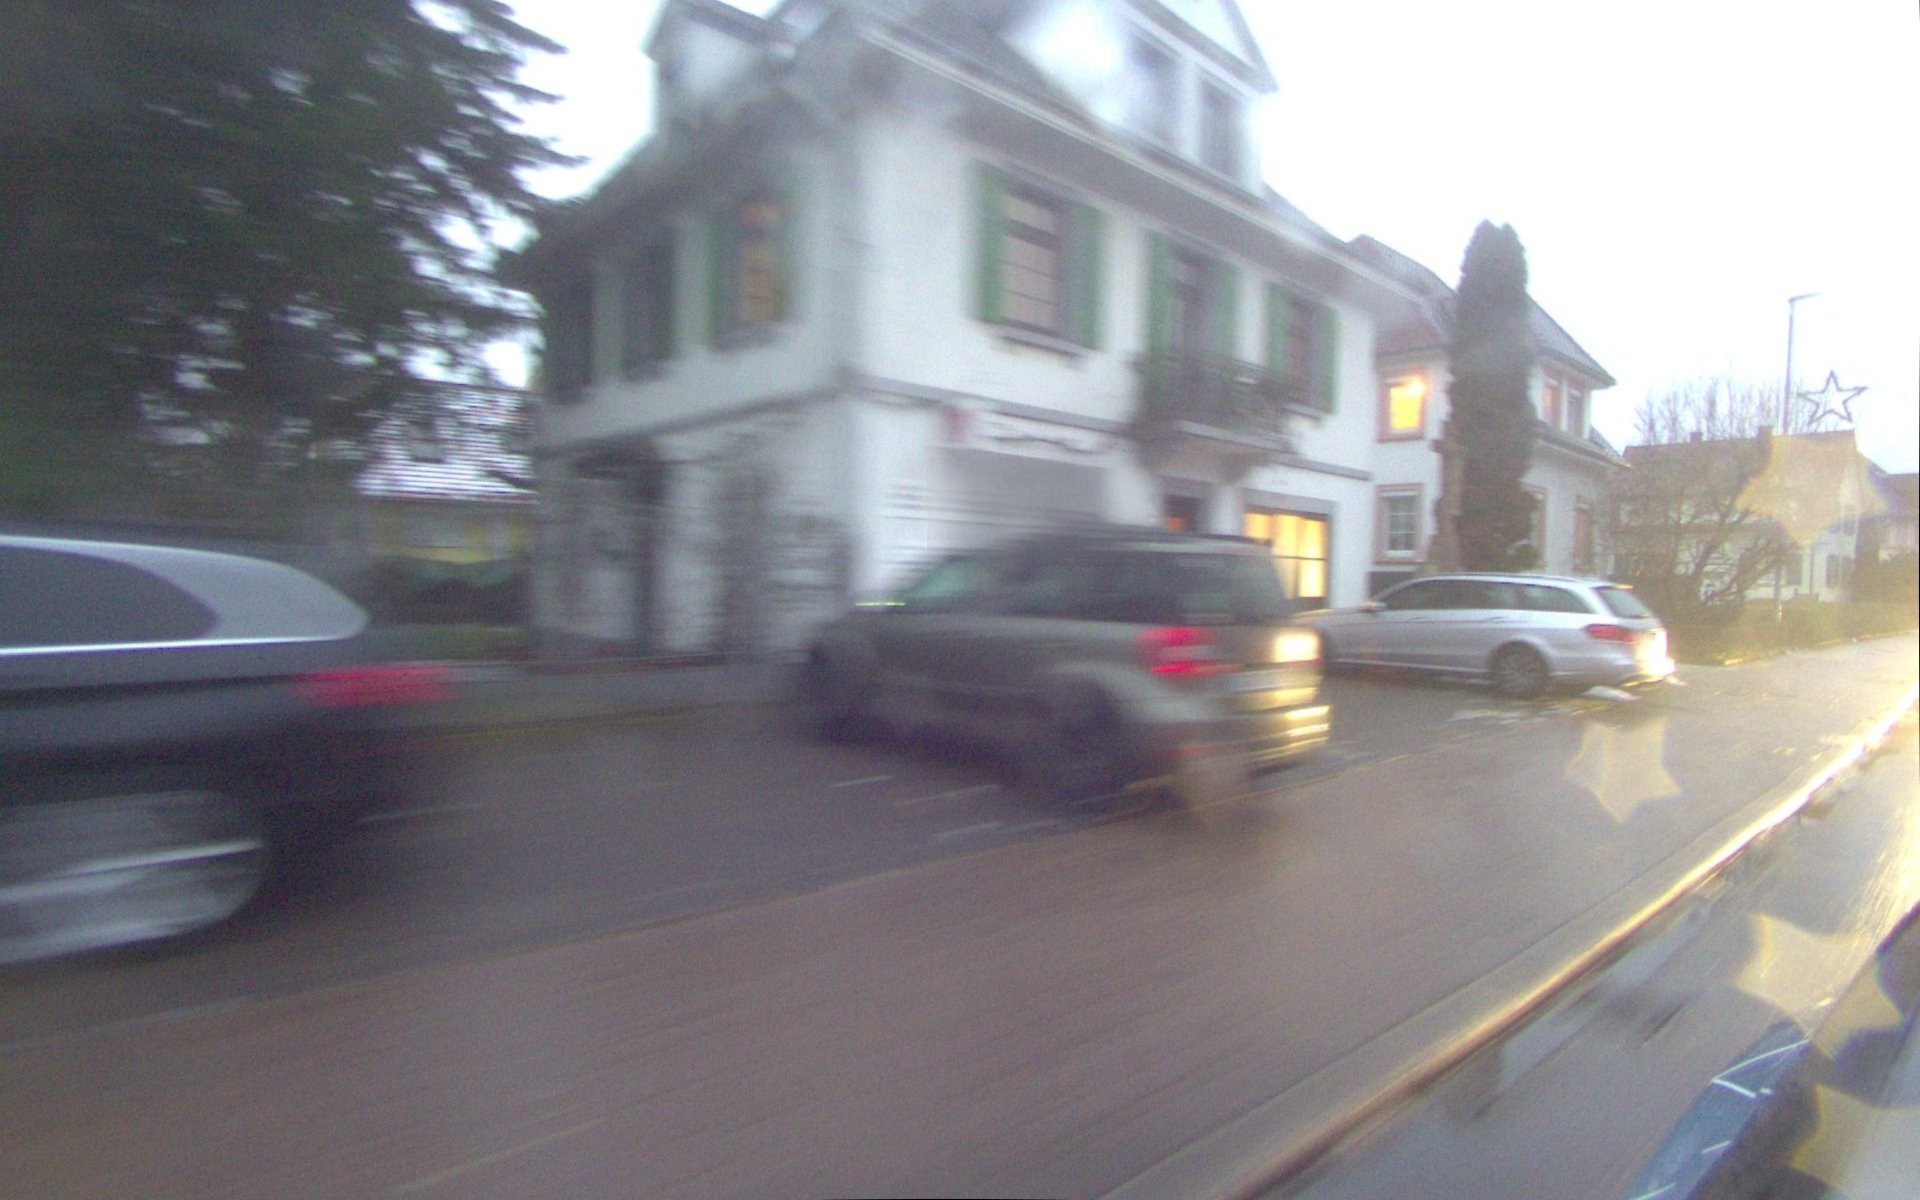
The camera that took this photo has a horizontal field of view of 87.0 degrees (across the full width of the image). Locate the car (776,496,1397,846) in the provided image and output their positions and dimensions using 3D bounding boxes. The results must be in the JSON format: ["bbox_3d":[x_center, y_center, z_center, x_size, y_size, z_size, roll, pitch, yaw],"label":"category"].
[{"bbox_3d":[0.616,0.247,7.185,1.966,1.726,4.110,-1,3,-41],"label":"car"}]

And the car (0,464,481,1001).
[{"bbox_3d":[-4.191,0.364,3.016,4.672,1.574,1.897,0,1,-41],"label":"car"}]

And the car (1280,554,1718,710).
[{"bbox_3d":[6.861,0.263,13.414,1.872,1.649,4.748,1,2,-38],"label":"car"}]
